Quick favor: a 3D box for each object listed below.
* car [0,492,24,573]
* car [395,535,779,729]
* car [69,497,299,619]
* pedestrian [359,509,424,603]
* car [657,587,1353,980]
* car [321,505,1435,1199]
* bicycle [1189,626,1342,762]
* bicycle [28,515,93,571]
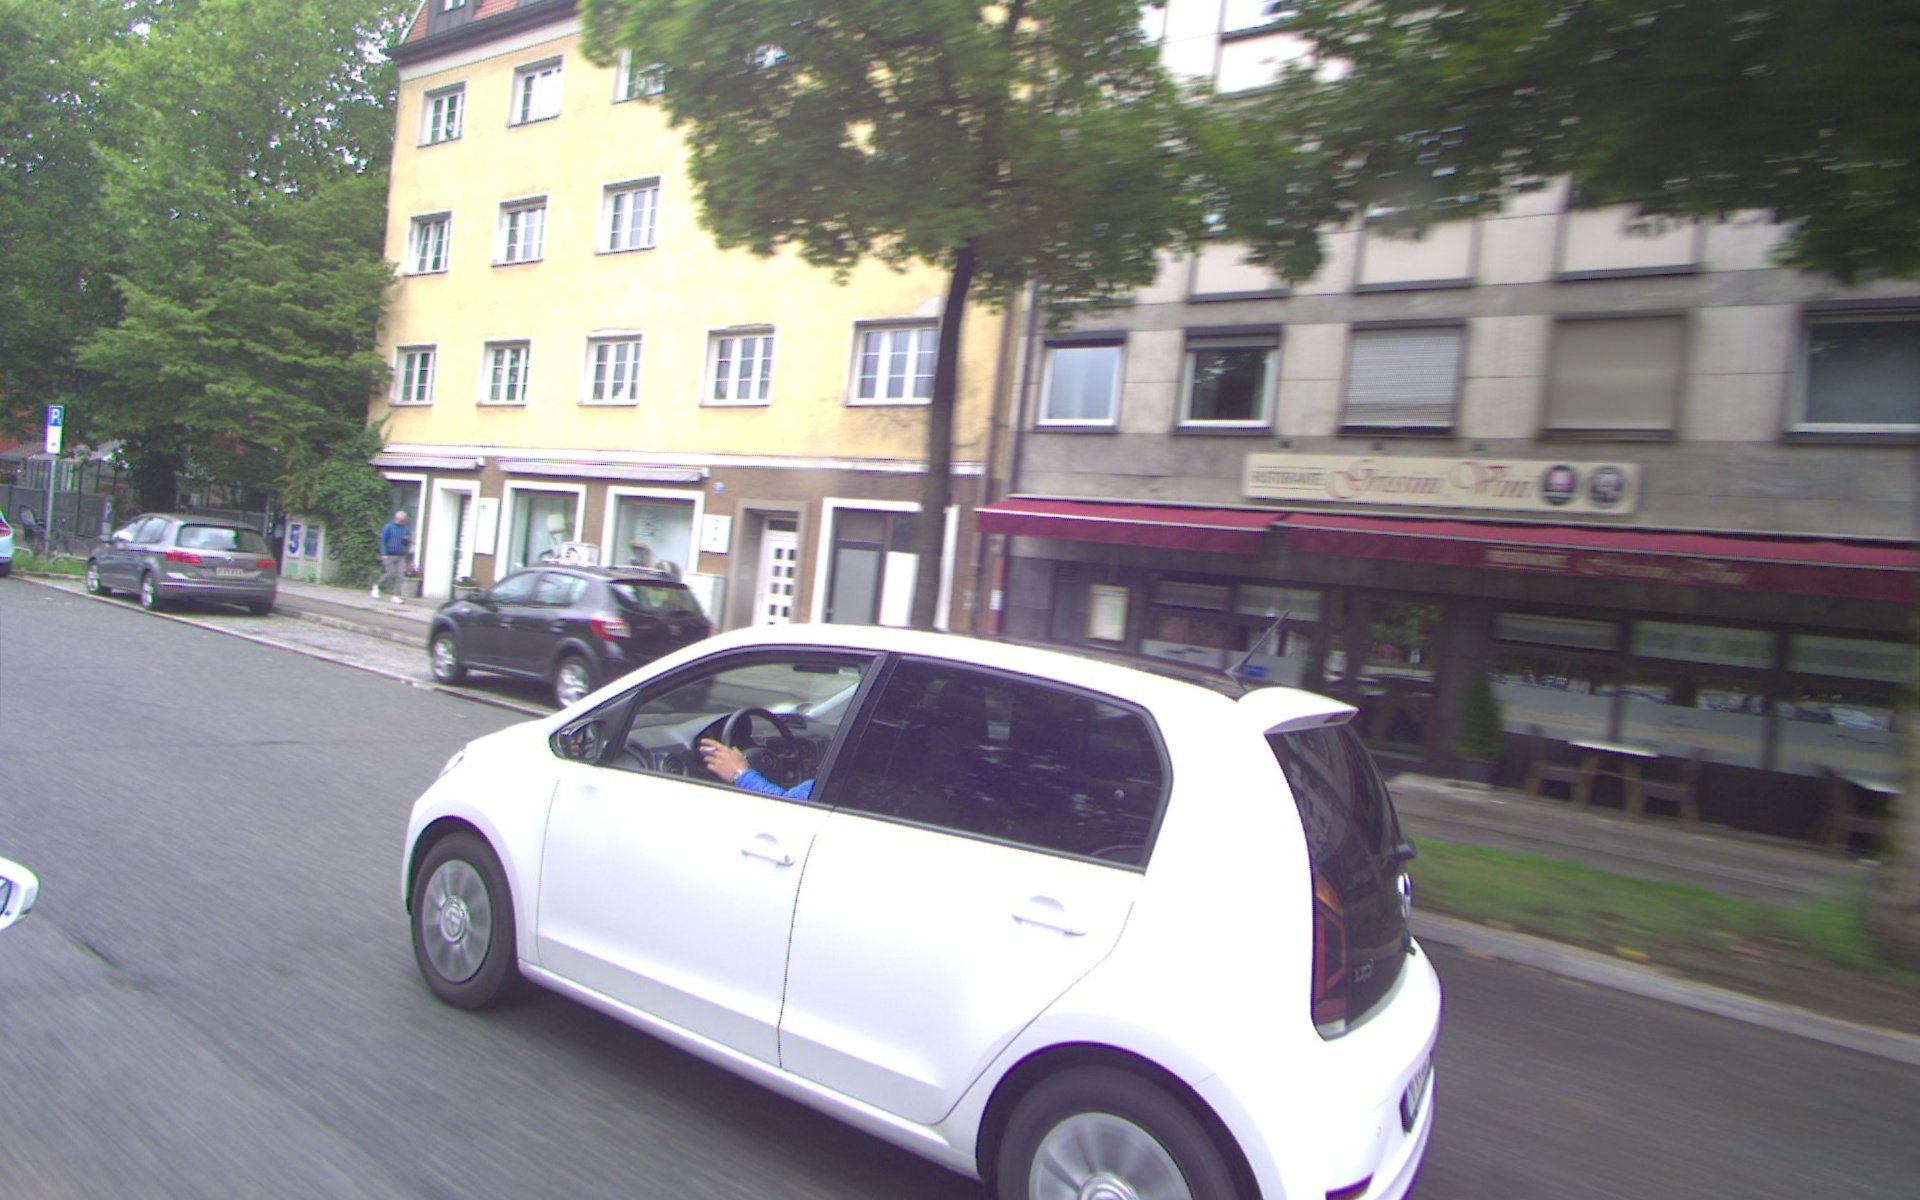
[{"bbox_3d":[-19.598,-1.481,19.203,3.936,1.470,1.654,7,1,35],"label":"car"},{"bbox_3d":[-4.512,0.320,12.013,4.261,1.663,1.996,7,0,32],"label":"car"},{"bbox_3d":[-13.563,-0.751,17.525,4.237,1.647,1.816,7,1,33],"label":"car"},{"bbox_3d":[-12.003,-0.923,21.242,0.763,1.880,0.793,7,2,29],"label":"pedestrian"},{"bbox_3d":[0.266,0.920,6.545,3.931,1.469,1.997,7,0,29],"label":"car"},{"bbox_3d":[-0.361,0.660,3.507,3.377,1.507,1.690,7,-1,31],"label":"car"},{"bbox_3d":[3.941,1.188,13.030,1.660,1.482,0.580,7,1,32],"label":"bicycle"},{"bbox_3d":[-18.737,-1.187,20.946,1.769,0.992,0.448,7,0,32],"label":"bicycle"}]
